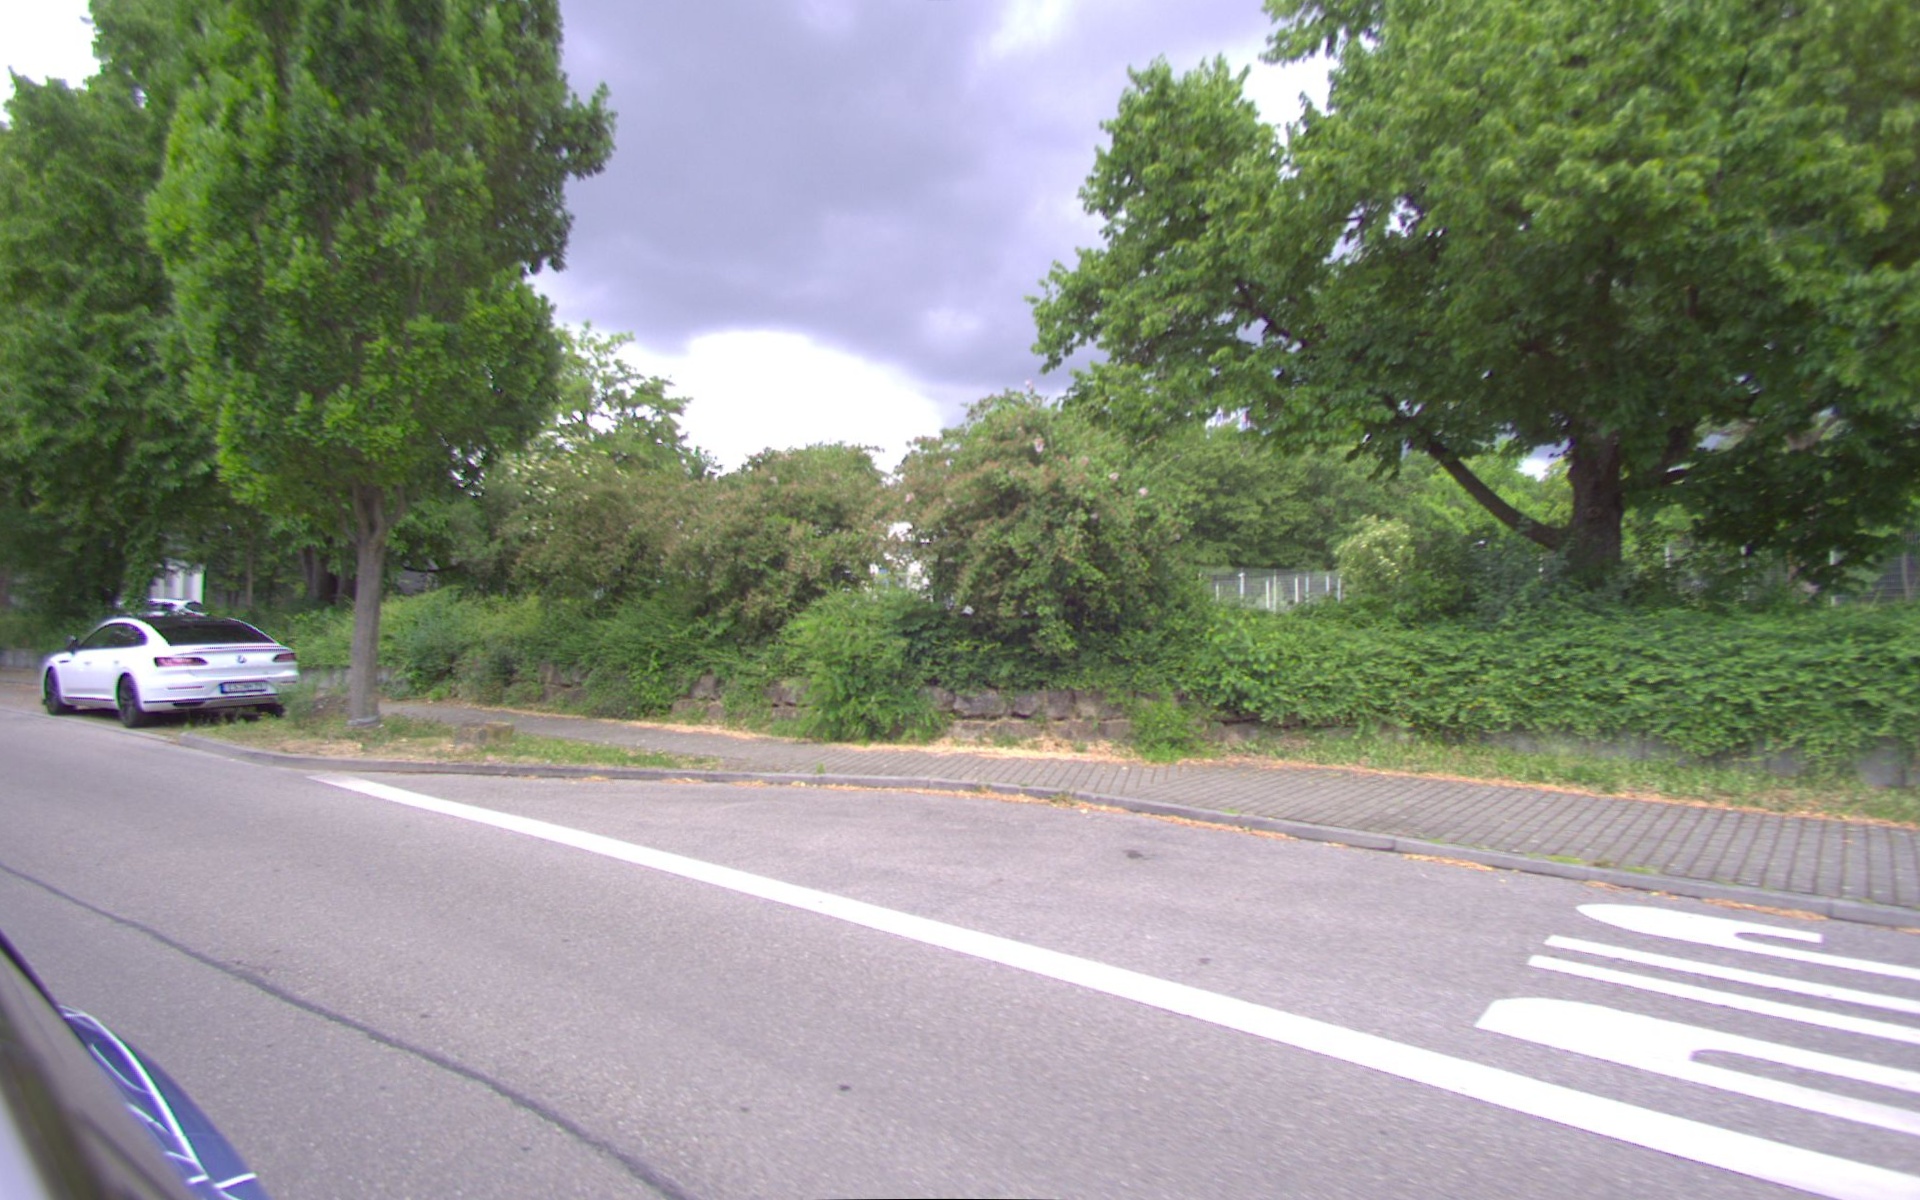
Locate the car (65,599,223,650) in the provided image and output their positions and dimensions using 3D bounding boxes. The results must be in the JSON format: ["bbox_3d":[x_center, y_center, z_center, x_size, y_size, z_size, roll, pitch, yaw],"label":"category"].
[{"bbox_3d":[-27.994,0.808,34.859,3.748,1.650,2.005,0,0,-13],"label":"car"}]

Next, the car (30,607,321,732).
[{"bbox_3d":[-11.127,0.872,14.262,4.622,1.503,1.833,-1,-1,33],"label":"car"}]
